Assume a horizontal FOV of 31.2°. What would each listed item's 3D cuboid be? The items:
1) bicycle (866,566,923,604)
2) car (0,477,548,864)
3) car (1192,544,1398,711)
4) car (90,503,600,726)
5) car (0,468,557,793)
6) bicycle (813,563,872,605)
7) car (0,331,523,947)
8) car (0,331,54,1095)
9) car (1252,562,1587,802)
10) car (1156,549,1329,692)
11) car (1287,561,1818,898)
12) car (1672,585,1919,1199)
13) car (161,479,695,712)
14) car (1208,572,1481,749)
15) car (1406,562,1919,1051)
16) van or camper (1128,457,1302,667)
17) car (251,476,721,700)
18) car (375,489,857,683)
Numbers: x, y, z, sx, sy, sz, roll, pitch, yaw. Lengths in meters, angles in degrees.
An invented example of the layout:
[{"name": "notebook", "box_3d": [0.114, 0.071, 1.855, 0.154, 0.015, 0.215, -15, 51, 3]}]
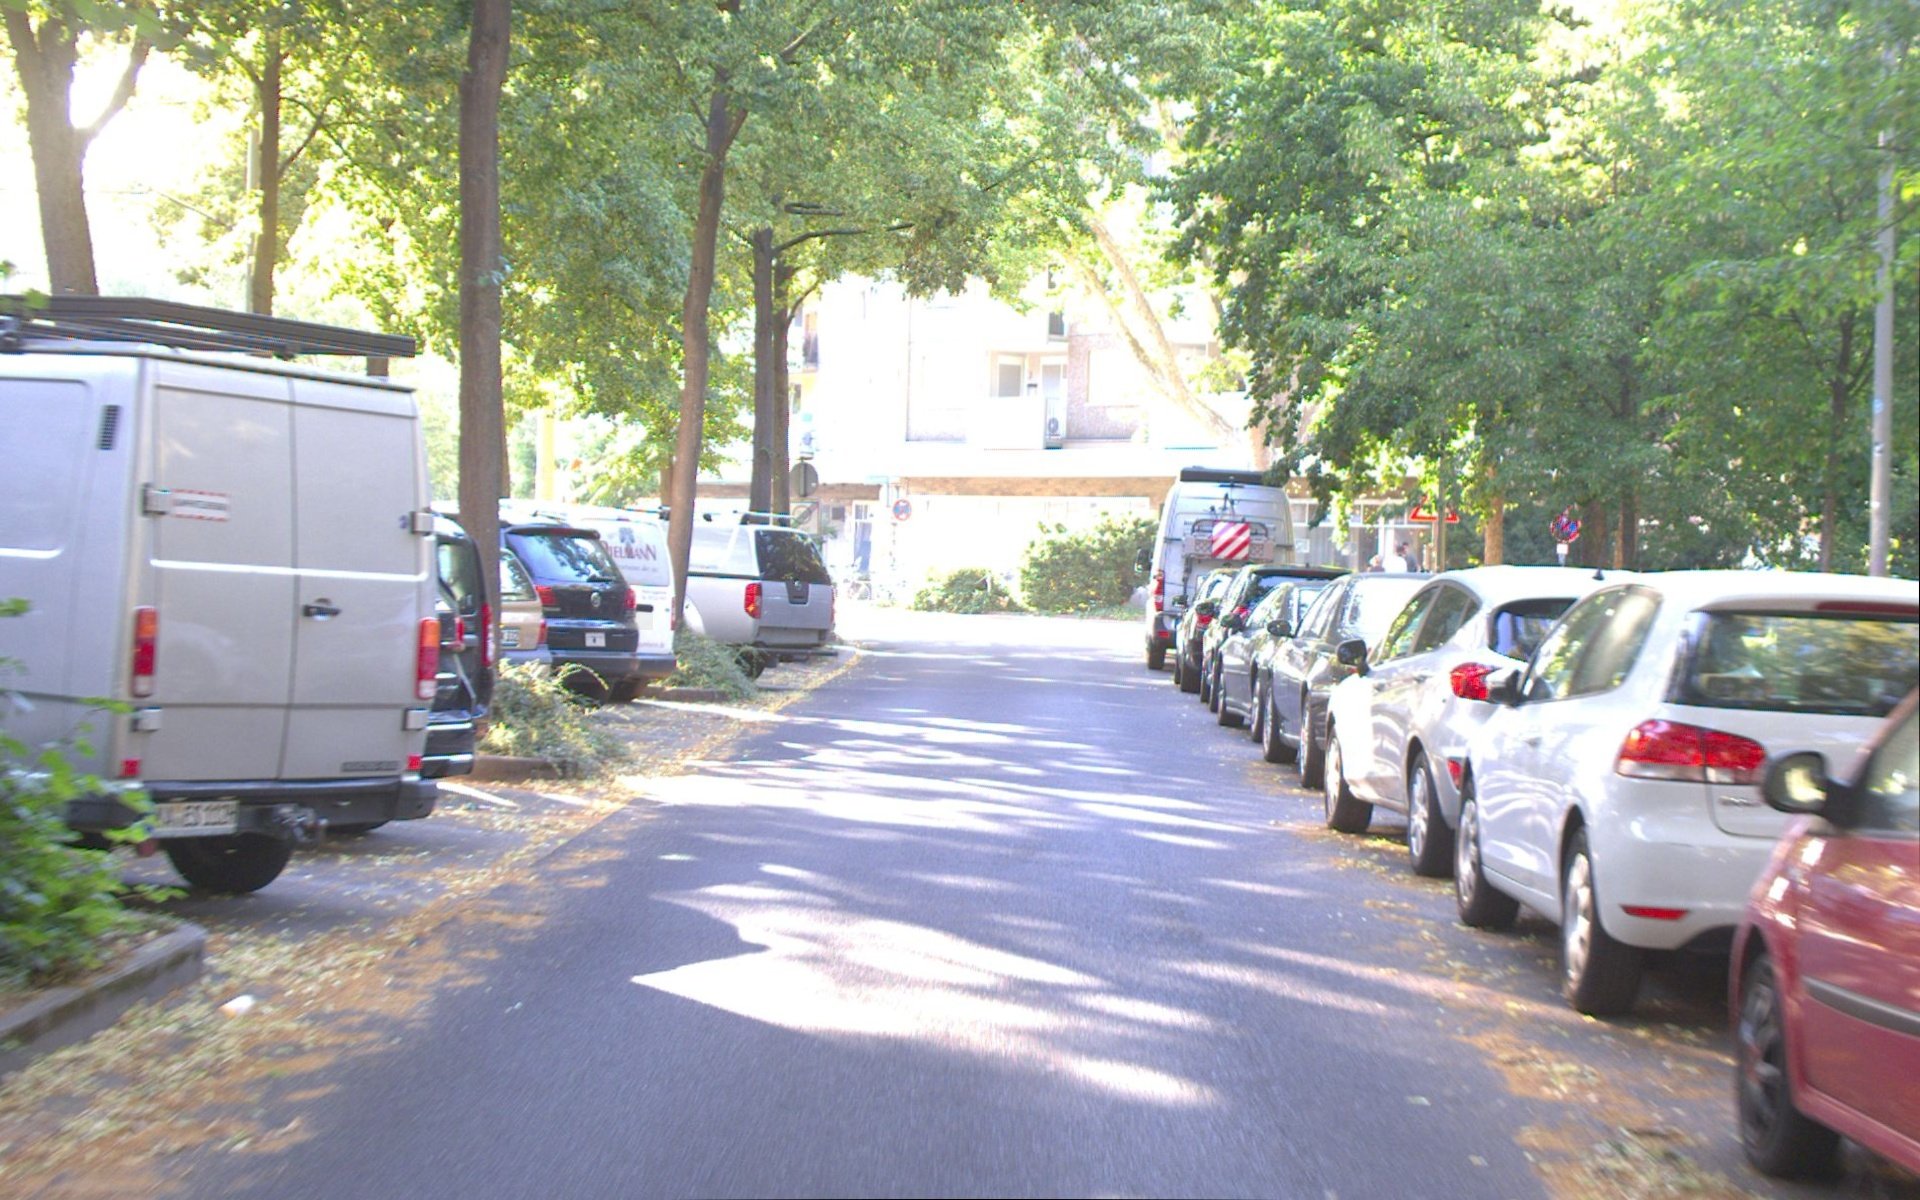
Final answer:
[{"name": "bicycle", "box_3d": [-1.646, -0.378, 85.929, 0.542, 0.901, 1.736, 1, 1, -34]}, {"name": "car", "box_3d": [-4.536, 0.218, 17.018, 4.511, 1.611, 1.932, 5, 1, 24]}, {"name": "car", "box_3d": [3.286, 0.228, 34.358, 1.680, 1.520, 4.287, 2, 1, 1]}, {"name": "car", "box_3d": [-4.739, 0.104, 26.442, 3.423, 1.421, 1.830, 5, 1, 31]}, {"name": "car", "box_3d": [-4.809, 0.093, 20.301, 4.513, 1.611, 1.851, 5, 1, 30]}, {"name": "bicycle", "box_3d": [-3.017, -0.410, 87.922, 0.638, 1.019, 2.088, 1, 1, -28]}, {"name": "car", "box_3d": [-4.725, -0.022, 14.266, 5.506, 2.130, 2.077, 5, 1, 30]}, {"name": "car", "box_3d": [-4.521, 0.207, 7.919, 4.707, 1.936, 1.931, 5, 1, 33]}, {"name": "car", "box_3d": [3.034, 0.479, 23.565, 1.680, 1.419, 4.659, 2, 1, 1]}, {"name": "car", "box_3d": [3.228, 0.187, 39.942, 1.680, 1.520, 4.489, 2, 1, 1]}, {"name": "car", "box_3d": [2.862, 0.563, 17.501, 1.680, 1.449, 4.077, 2, 1, -4]}, {"name": "car", "box_3d": [2.714, 0.734, 7.339, 1.591, 1.449, 3.555, 2, 1, 0]}, {"name": "car", "box_3d": [-4.539, -0.045, 29.173, 4.155, 1.638, 1.911, 5, 1, 32]}, {"name": "car", "box_3d": [3.104, 0.449, 28.504, 1.680, 1.279, 4.288, 2, 1, -1]}, {"name": "car", "box_3d": [2.771, 0.621, 12.572, 1.680, 1.449, 4.076, 2, 1, 0]}, {"name": "van or camper", "box_3d": [3.574, -0.556, 49.124, 2.084, 2.753, 5.845, 2, 1, 1]}, {"name": "car", "box_3d": [-4.501, -0.130, 32.395, 4.156, 1.775, 1.880, 5, 1, 36]}, {"name": "car", "box_3d": [-3.866, -0.163, 38.386, 4.994, 1.775, 1.984, 5, 1, 28]}]
